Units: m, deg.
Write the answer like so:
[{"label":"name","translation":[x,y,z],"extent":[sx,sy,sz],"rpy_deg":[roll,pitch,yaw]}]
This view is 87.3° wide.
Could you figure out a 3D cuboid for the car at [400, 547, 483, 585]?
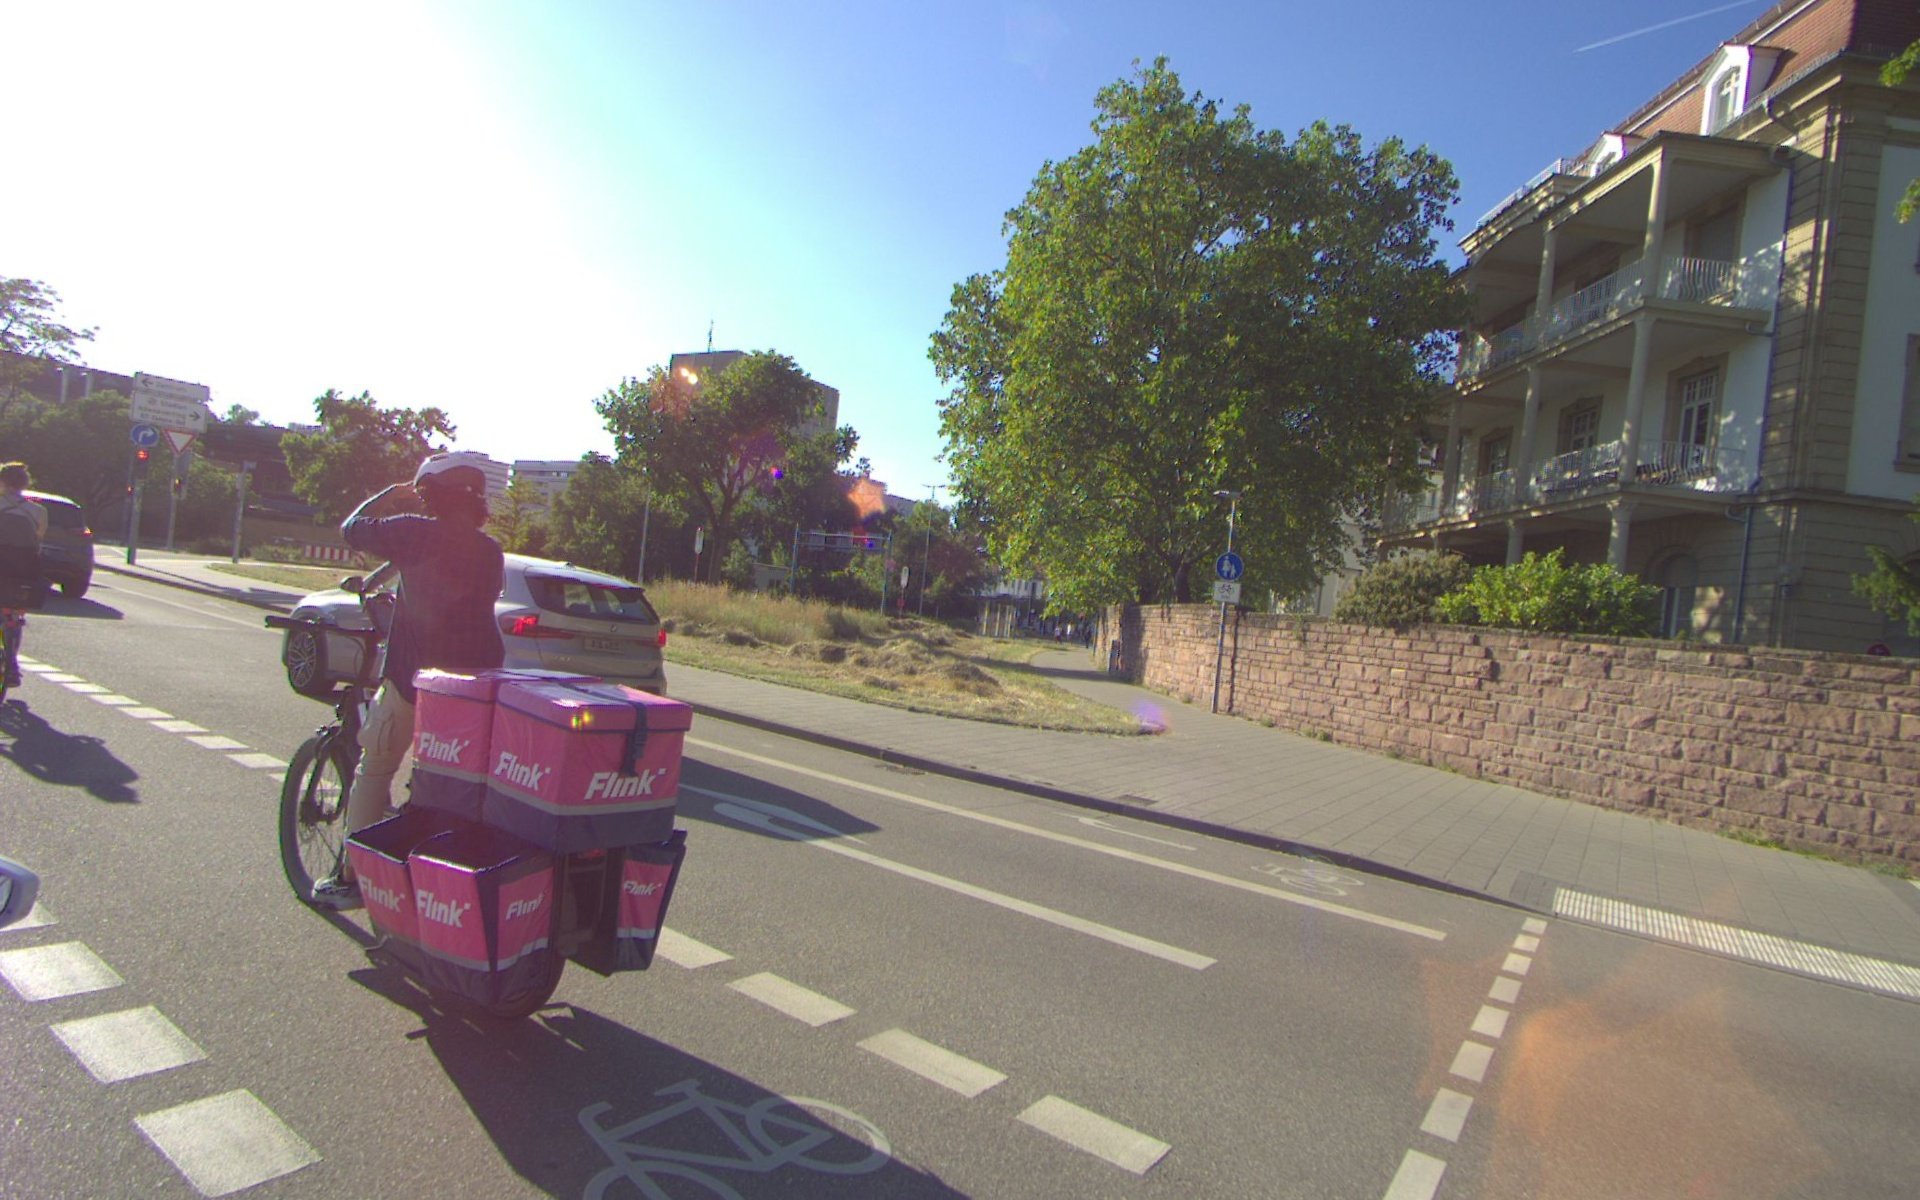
[{"label":"car","translation":[-28.355,-1.829,55.098],"extent":[1.628,1.580,3.631],"rpy_deg":[7,0,43]}]

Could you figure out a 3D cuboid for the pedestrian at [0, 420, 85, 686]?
[{"label":"pedestrian","translation":[-7.231,-0.364,7.544],"extent":[0.859,1.890,0.659],"rpy_deg":[6,-2,36]}]

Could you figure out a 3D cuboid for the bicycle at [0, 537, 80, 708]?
[{"label":"bicycle","translation":[-7.326,0.102,7.572],"extent":[1.920,1.164,0.564],"rpy_deg":[5,-2,37]}]

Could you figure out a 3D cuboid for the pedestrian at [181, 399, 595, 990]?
[{"label":"pedestrian","translation":[-2.132,0.299,3.793],"extent":[0.940,1.890,0.808],"rpy_deg":[6,-2,31]}]

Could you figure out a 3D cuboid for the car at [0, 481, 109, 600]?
[{"label":"car","translation":[-16.509,-1.105,17.188],"extent":[4.300,1.708,1.833],"rpy_deg":[5,-3,35]}]

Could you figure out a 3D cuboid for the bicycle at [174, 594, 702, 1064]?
[{"label":"bicycle","translation":[-2.058,0.684,3.769],"extent":[2.334,1.184,0.555],"rpy_deg":[5,-2,33]}]

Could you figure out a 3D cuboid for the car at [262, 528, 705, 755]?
[{"label":"car","translation":[-4.740,0.341,9.824],"extent":[4.259,1.612,1.790],"rpy_deg":[6,-2,33]}]
